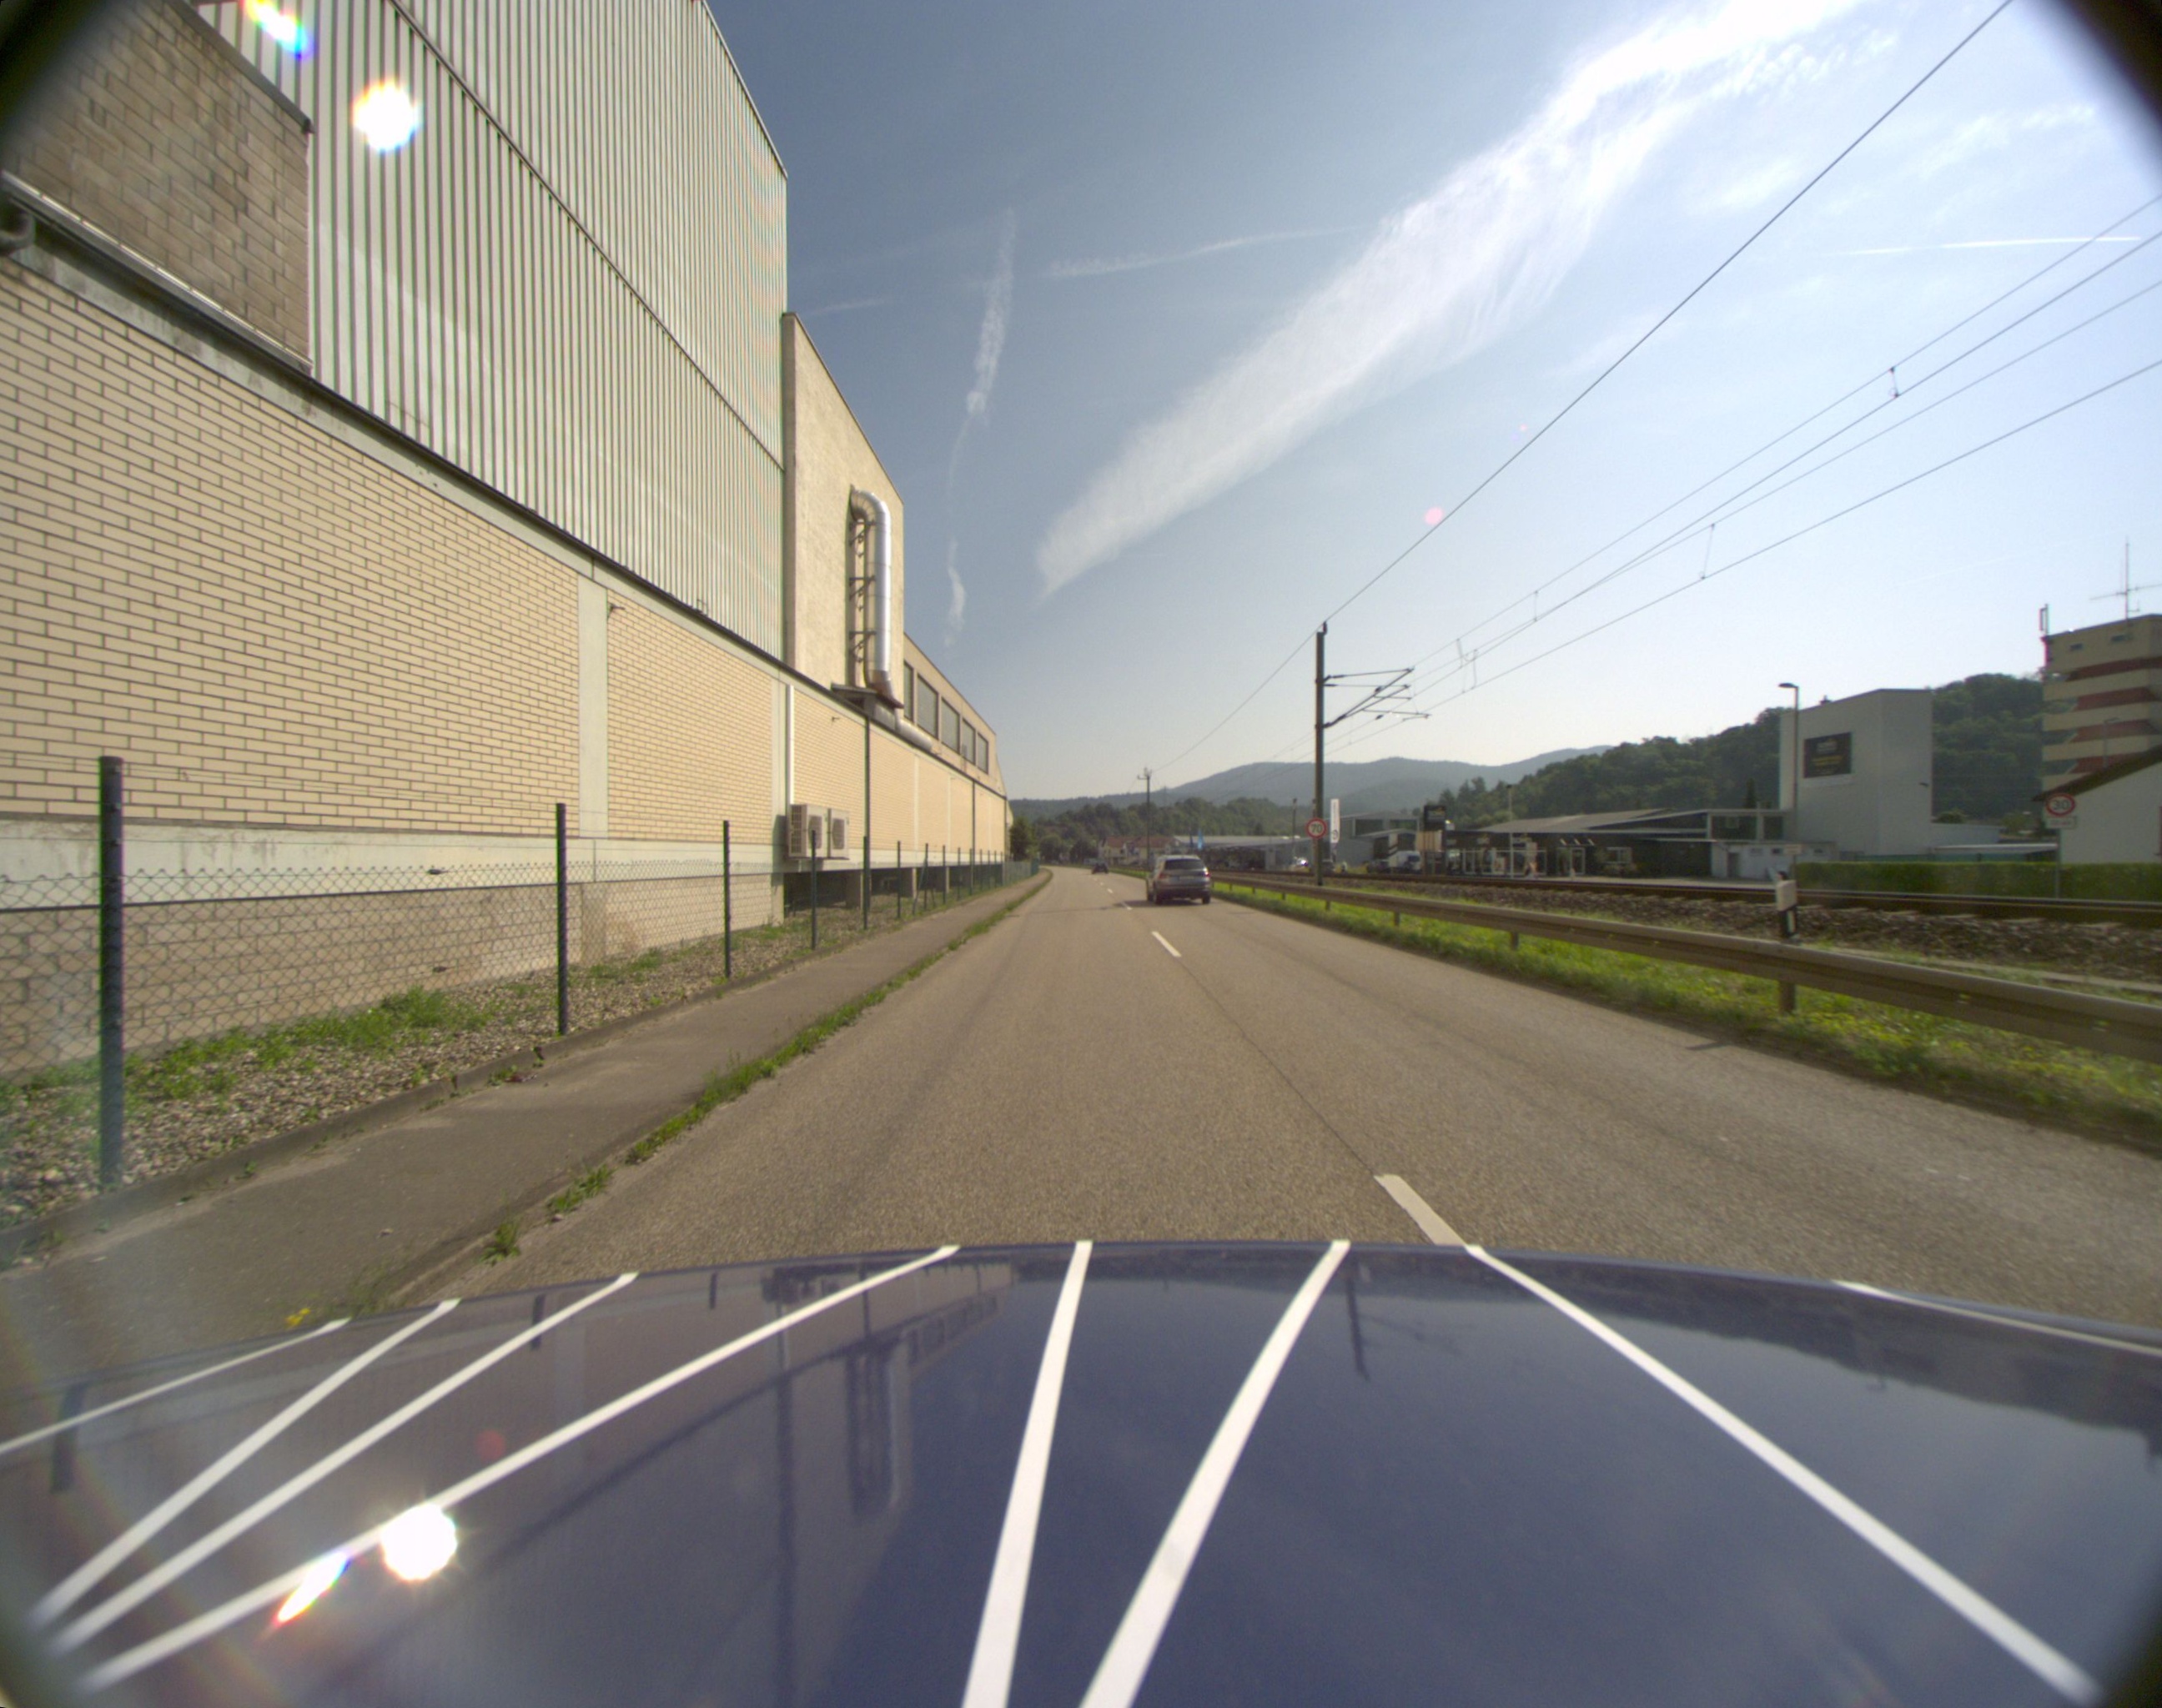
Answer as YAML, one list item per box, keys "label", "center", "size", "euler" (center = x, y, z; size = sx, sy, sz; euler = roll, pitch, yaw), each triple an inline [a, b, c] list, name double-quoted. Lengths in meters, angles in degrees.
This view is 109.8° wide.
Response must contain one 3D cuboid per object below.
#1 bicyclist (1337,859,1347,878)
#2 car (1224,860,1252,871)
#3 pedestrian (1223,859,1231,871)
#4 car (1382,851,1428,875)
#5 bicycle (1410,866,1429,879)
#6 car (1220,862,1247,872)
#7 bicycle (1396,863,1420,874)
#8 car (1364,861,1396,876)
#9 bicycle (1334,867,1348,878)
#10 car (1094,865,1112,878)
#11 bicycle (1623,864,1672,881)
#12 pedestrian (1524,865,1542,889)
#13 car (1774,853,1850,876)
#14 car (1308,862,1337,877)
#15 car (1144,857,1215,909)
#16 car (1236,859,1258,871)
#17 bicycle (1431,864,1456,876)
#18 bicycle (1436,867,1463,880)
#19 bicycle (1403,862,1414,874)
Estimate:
- label: "bicyclist"
  center: [23.150, 1.262, 67.494]
  size: [0.534, 1.637, 0.831]
  euler: [0, 0, -4]
- label: "car"
  center: [24.971, 1.875, 120.830]
  size: [3.968, 1.519, 1.662]
  euler: [-3, 0, -6]
- label: "pedestrian"
  center: [22.716, 1.694, 118.103]
  size: [0.833, 1.724, 0.806]
  euler: [1, 0, 33]
- label: "car"
  center: [38.441, 1.059, 90.431]
  size: [2.380, 2.618, 6.156]
  euler: [0, 1, -5]
- label: "bicycle"
  center: [31.962, 1.723, 71.747]
  size: [0.730, 1.124, 2.173]
  euler: [0, 0, -4]
- label: "car"
  center: [24.584, 2.044, 122.544]
  size: [3.968, 1.317, 1.501]
  euler: [-3, 0, -6]
- label: "bicycle"
  center: [33.144, 1.438, 76.972]
  size: [2.173, 1.124, 0.730]
  euler: [0, 0, -3]
- label: "car"
  center: [35.230, 1.652, 89.611]
  size: [1.873, 1.654, 3.997]
  euler: [0, 1, -6]
- label: "bicycle"
  center: [23.141, 1.651, 67.687]
  size: [0.547, 0.917, 1.709]
  euler: [0, 0, -4]
- label: "car"
  center: [2.463, 1.960, 87.112]
  size: [1.769, 1.394, 4.119]
  euler: [-1, 0, -3]
- label: "bicycle"
  center: [45.890, 1.464, 61.536]
  size: [3.445, 1.281, 0.989]
  euler: [-1, 1, -7]
- label: "pedestrian"
  center: [25.107, 1.276, 42.185]
  size: [0.575, 1.324, 0.673]
  euler: [0, 0, -8]
- label: "car"
  center: [53.364, 0.748, 55.542]
  size: [1.715, 1.589, 3.981]
  euler: [0, 0, 0]
- label: "car"
  center: [28.438, 1.776, 89.631]
  size: [1.523, 1.679, 4.368]
  euler: [-2, 0, -6]
- label: "car"
  center: [3.321, 0.930, 26.377]
  size: [1.911, 1.591, 4.570]
  euler: [-1, 0, 1]
- label: "car"
  center: [25.443, 1.638, 116.420]
  size: [1.659, 1.613, 4.039]
  euler: [-3, 0, 39]
- label: "bicycle"
  center: [33.652, 1.474, 70.553]
  size: [2.175, 1.124, 0.729]
  euler: [0, 0, -13]
- label: "bicycle"
  center: [32.855, 1.771, 67.701]
  size: [2.175, 1.124, 0.729]
  euler: [0, 0, -13]
- label: "bicycle"
  center: [32.025, 1.347, 74.296]
  size: [0.728, 1.124, 2.327]
  euler: [0, 0, 31]
